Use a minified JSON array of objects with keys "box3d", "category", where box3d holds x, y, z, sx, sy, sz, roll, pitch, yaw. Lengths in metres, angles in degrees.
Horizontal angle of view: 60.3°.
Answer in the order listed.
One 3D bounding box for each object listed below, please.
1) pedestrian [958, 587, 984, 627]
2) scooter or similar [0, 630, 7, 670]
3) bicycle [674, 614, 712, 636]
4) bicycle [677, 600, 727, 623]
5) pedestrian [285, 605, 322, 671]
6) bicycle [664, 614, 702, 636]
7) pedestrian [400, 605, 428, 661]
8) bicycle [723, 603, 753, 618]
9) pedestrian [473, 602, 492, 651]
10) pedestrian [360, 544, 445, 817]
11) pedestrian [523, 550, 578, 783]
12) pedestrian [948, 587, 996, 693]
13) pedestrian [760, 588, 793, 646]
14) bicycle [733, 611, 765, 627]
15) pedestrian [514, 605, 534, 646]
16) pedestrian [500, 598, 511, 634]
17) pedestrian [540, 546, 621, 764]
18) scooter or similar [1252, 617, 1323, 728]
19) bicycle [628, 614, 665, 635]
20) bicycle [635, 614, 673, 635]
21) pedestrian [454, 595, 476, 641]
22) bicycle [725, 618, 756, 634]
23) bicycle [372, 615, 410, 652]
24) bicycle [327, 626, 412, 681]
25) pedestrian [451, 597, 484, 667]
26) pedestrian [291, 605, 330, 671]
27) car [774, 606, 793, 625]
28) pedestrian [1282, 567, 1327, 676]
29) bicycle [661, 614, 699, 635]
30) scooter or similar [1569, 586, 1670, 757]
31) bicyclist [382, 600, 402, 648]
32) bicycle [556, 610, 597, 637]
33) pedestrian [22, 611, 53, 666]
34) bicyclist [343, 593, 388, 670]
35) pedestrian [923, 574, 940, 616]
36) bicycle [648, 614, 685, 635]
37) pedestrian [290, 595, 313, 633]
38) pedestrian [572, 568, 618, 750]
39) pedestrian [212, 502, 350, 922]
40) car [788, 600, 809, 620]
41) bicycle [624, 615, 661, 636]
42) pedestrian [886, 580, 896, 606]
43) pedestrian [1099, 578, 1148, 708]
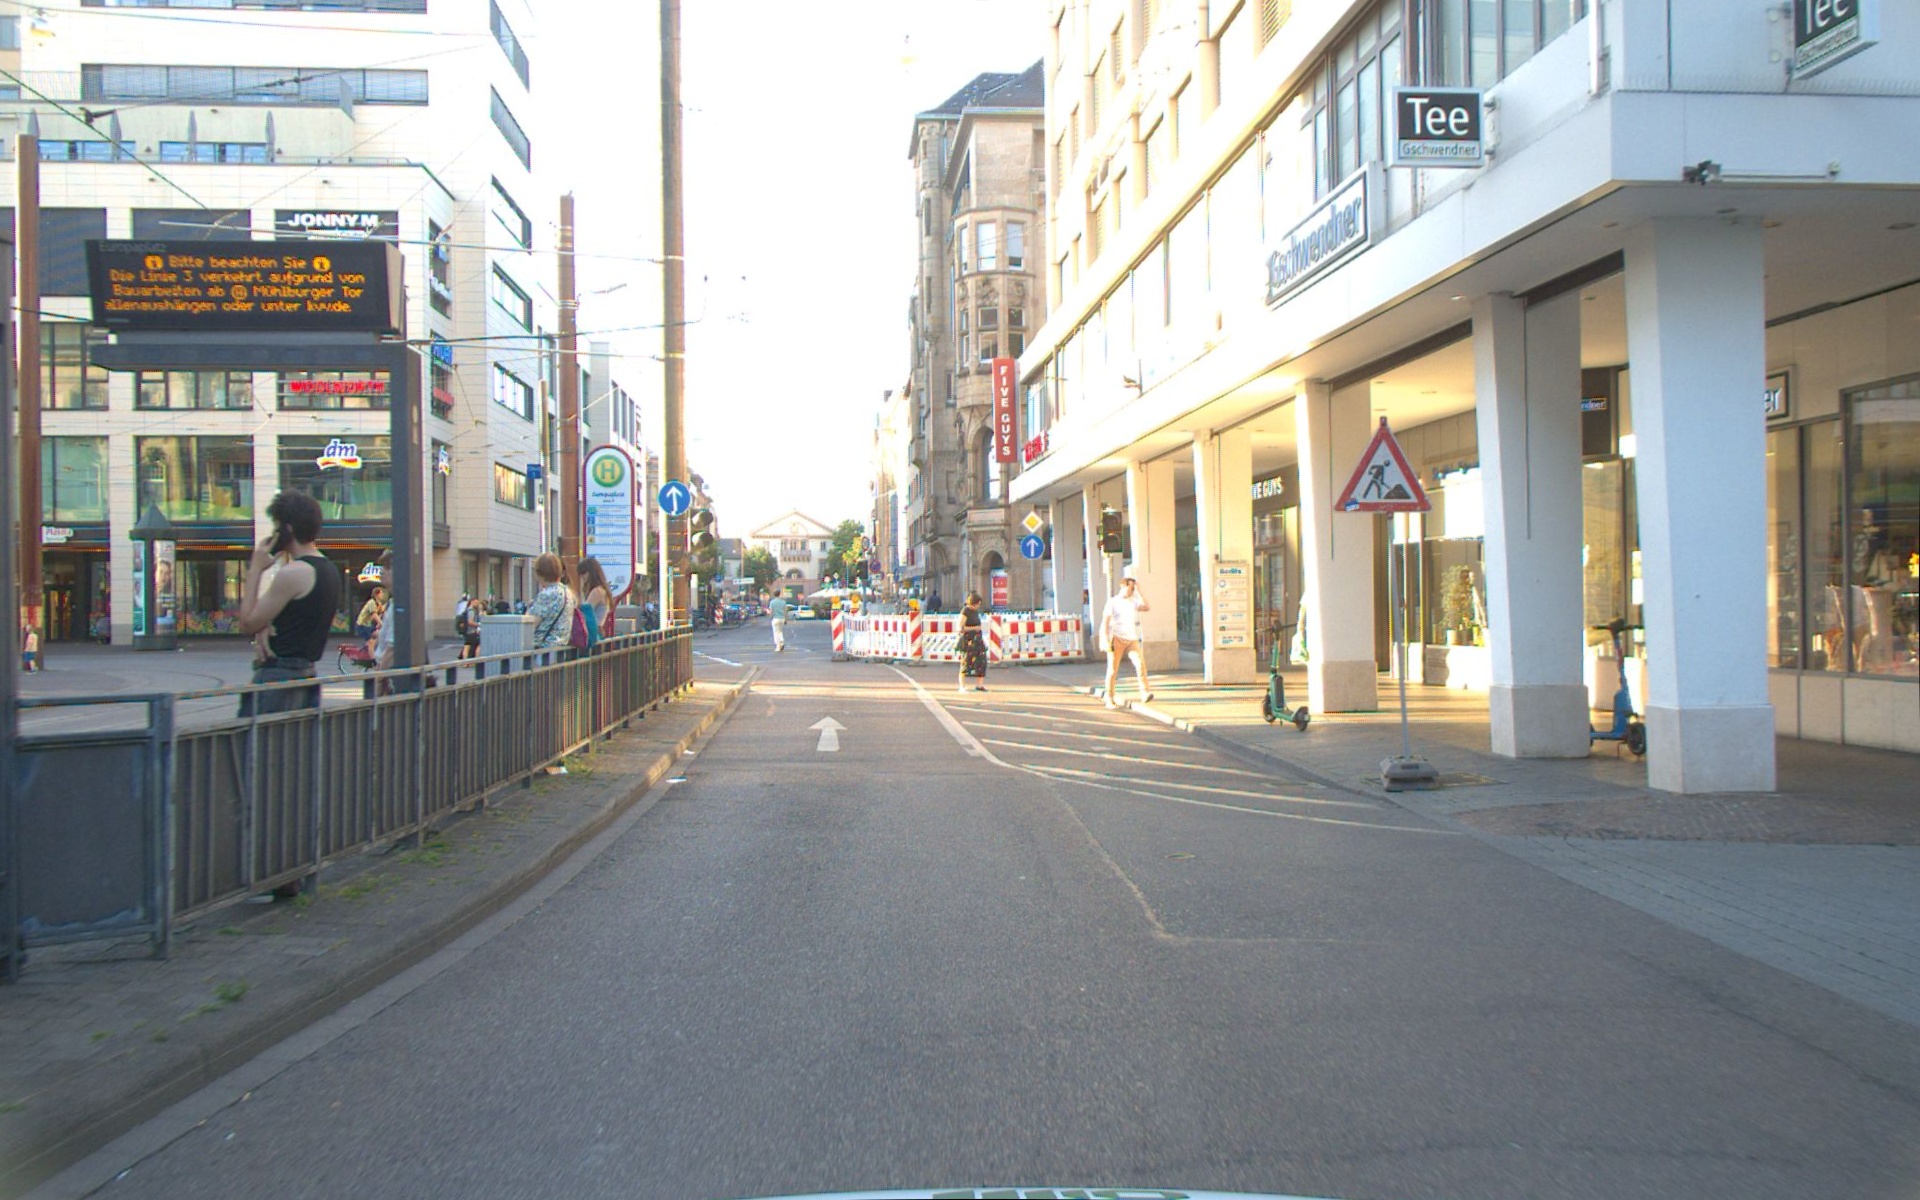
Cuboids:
[{"box3d":[0.466,0.288,68.559,0.806,1.639,0.710,0,-1,38],"category":"pedestrian"},{"box3d":[-22.663,1.159,38.077,1.074,0.920,0.887,-1,0,34],"category":"scooter or similar"},{"box3d":[-14.058,1.315,87.136,1.950,1.141,0.551,1,-1,-34],"category":"bicycle"},{"box3d":[-15.291,0.690,98.162,2.858,1.277,0.795,-1,-1,-32],"category":"bicycle"},{"box3d":[-16.689,0.958,42.045,0.762,1.642,0.660,-1,0,-30],"category":"pedestrian"},{"box3d":[-14.723,1.316,87.826,1.950,1.141,0.551,1,-1,-34],"category":"bicycle"},{"box3d":[-16.706,0.996,50.580,0.635,1.703,0.530,-1,0,3],"category":"pedestrian"},{"box3d":[-15.774,0.767,117.573,2.105,1.047,0.640,-1,-1,-4],"category":"bicycle"},{"box3d":[-16.927,0.938,58.618,0.518,1.703,0.650,-1,0,-4],"category":"pedestrian"},{"box3d":[-3.495,0.495,10.394,0.378,1.671,0.548,1,-1,-7],"category":"pedestrian"},{"box3d":[-3.275,0.525,13.242,0.335,1.827,0.544,1,-1,-7],"category":"pedestrian"},{"box3d":[0.191,0.659,27.365,0.687,1.723,0.539,1,-1,-12],"category":"pedestrian"},{"box3d":[-5.687,0.523,51.411,0.847,1.792,0.768,0,-1,7],"category":"pedestrian"},{"box3d":[-14.571,1.321,114.147,2.105,1.047,0.640,-1,-1,-4],"category":"bicycle"},{"box3d":[-19.115,1.134,72.462,0.767,1.782,0.599,1,-1,-8],"category":"pedestrian"},{"box3d":[-19.754,0.688,71.840,0.382,1.541,0.505,-1,-1,-6],"category":"pedestrian"},{"box3d":[-3.200,0.456,13.985,0.528,1.798,0.594,0,-1,0],"category":"pedestrian"},{"box3d":[3.840,0.832,19.440,0.495,1.256,1.178,-1,0,-5],"category":"scooter or similar"},{"box3d":[-17.233,1.325,91.045,1.950,1.141,0.551,1,-1,-34],"category":"bicycle"},{"box3d":[-16.735,1.324,90.486,1.950,1.141,0.551,1,-1,-34],"category":"bicycle"},{"box3d":[-20.511,0.759,68.569,0.560,1.887,0.817,0,-1,7],"category":"pedestrian"},{"box3d":[-15.325,1.829,115.353,2.105,1.047,0.640,-1,-1,-4],"category":"bicycle"},{"box3d":[-17.456,1.018,50.746,0.561,1.117,2.021,1,-1,-3],"category":"bicycle"},{"box3d":[-12.715,1.156,35.663,1.588,1.123,0.629,-2,-1,-3],"category":"bicycle"},{"box3d":[-12.339,0.800,41.425,0.733,1.730,0.607,-1,-1,-20],"category":"pedestrian"},{"box3d":[-16.273,0.945,41.419,0.812,1.642,0.686,-1,0,-30],"category":"pedestrian"},{"box3d":[-19.039,1.672,178.026,1.955,1.937,3.995,1,-1,-5],"category":"car"},{"box3d":[5.940,0.371,28.554,0.684,1.847,0.631,0,-1,5],"category":"pedestrian"},{"box3d":[-14.977,1.321,88.522,1.950,1.141,0.551,1,-1,-34],"category":"bicycle"},{"box3d":[6.128,0.641,15.415,0.307,1.514,1.313,-1,0,-5],"category":"scooter or similar"},{"box3d":[-17.413,0.745,50.710,0.412,1.452,0.563,1,-1,-4],"category":"bicyclist"},{"box3d":[-16.808,1.039,72.531,1.662,1.141,0.450,1,-1,-3],"category":"bicycle"},{"box3d":[-21.664,0.905,38.833,0.402,1.265,0.485,-1,0,9],"category":"pedestrian"},{"box3d":[-12.823,0.673,35.678,0.774,1.621,0.609,-1,-1,-5],"category":"bicyclist"},{"box3d":[-1.165,-0.209,68.049,0.613,1.719,0.670,-1,-1,-7],"category":"pedestrian"},{"box3d":[-15.839,1.321,89.297,1.950,1.141,0.551,1,-1,-34],"category":"bicycle"},{"box3d":[-27.709,0.586,69.599,0.560,1.553,0.791,0,-1,7],"category":"pedestrian"},{"box3d":[-3.421,0.547,15.522,0.350,1.671,0.502,1,-1,-7],"category":"pedestrian"},{"box3d":[-3.030,0.483,7.415,0.404,1.798,0.593,1,-1,-7],"category":"pedestrian"},{"box3d":[-15.425,0.950,158.292,1.955,1.937,3.995,1,-1,-5],"category":"car"},{"box3d":[-17.662,1.402,91.954,1.950,1.141,0.551,1,-1,-34],"category":"bicycle"},{"box3d":[-4.660,-0.449,111.519,0.631,1.719,0.670,-1,-1,-7],"category":"pedestrian"},{"box3d":[2.387,0.617,24.132,0.684,1.847,0.852,0,-1,6],"category":"pedestrian"}]
